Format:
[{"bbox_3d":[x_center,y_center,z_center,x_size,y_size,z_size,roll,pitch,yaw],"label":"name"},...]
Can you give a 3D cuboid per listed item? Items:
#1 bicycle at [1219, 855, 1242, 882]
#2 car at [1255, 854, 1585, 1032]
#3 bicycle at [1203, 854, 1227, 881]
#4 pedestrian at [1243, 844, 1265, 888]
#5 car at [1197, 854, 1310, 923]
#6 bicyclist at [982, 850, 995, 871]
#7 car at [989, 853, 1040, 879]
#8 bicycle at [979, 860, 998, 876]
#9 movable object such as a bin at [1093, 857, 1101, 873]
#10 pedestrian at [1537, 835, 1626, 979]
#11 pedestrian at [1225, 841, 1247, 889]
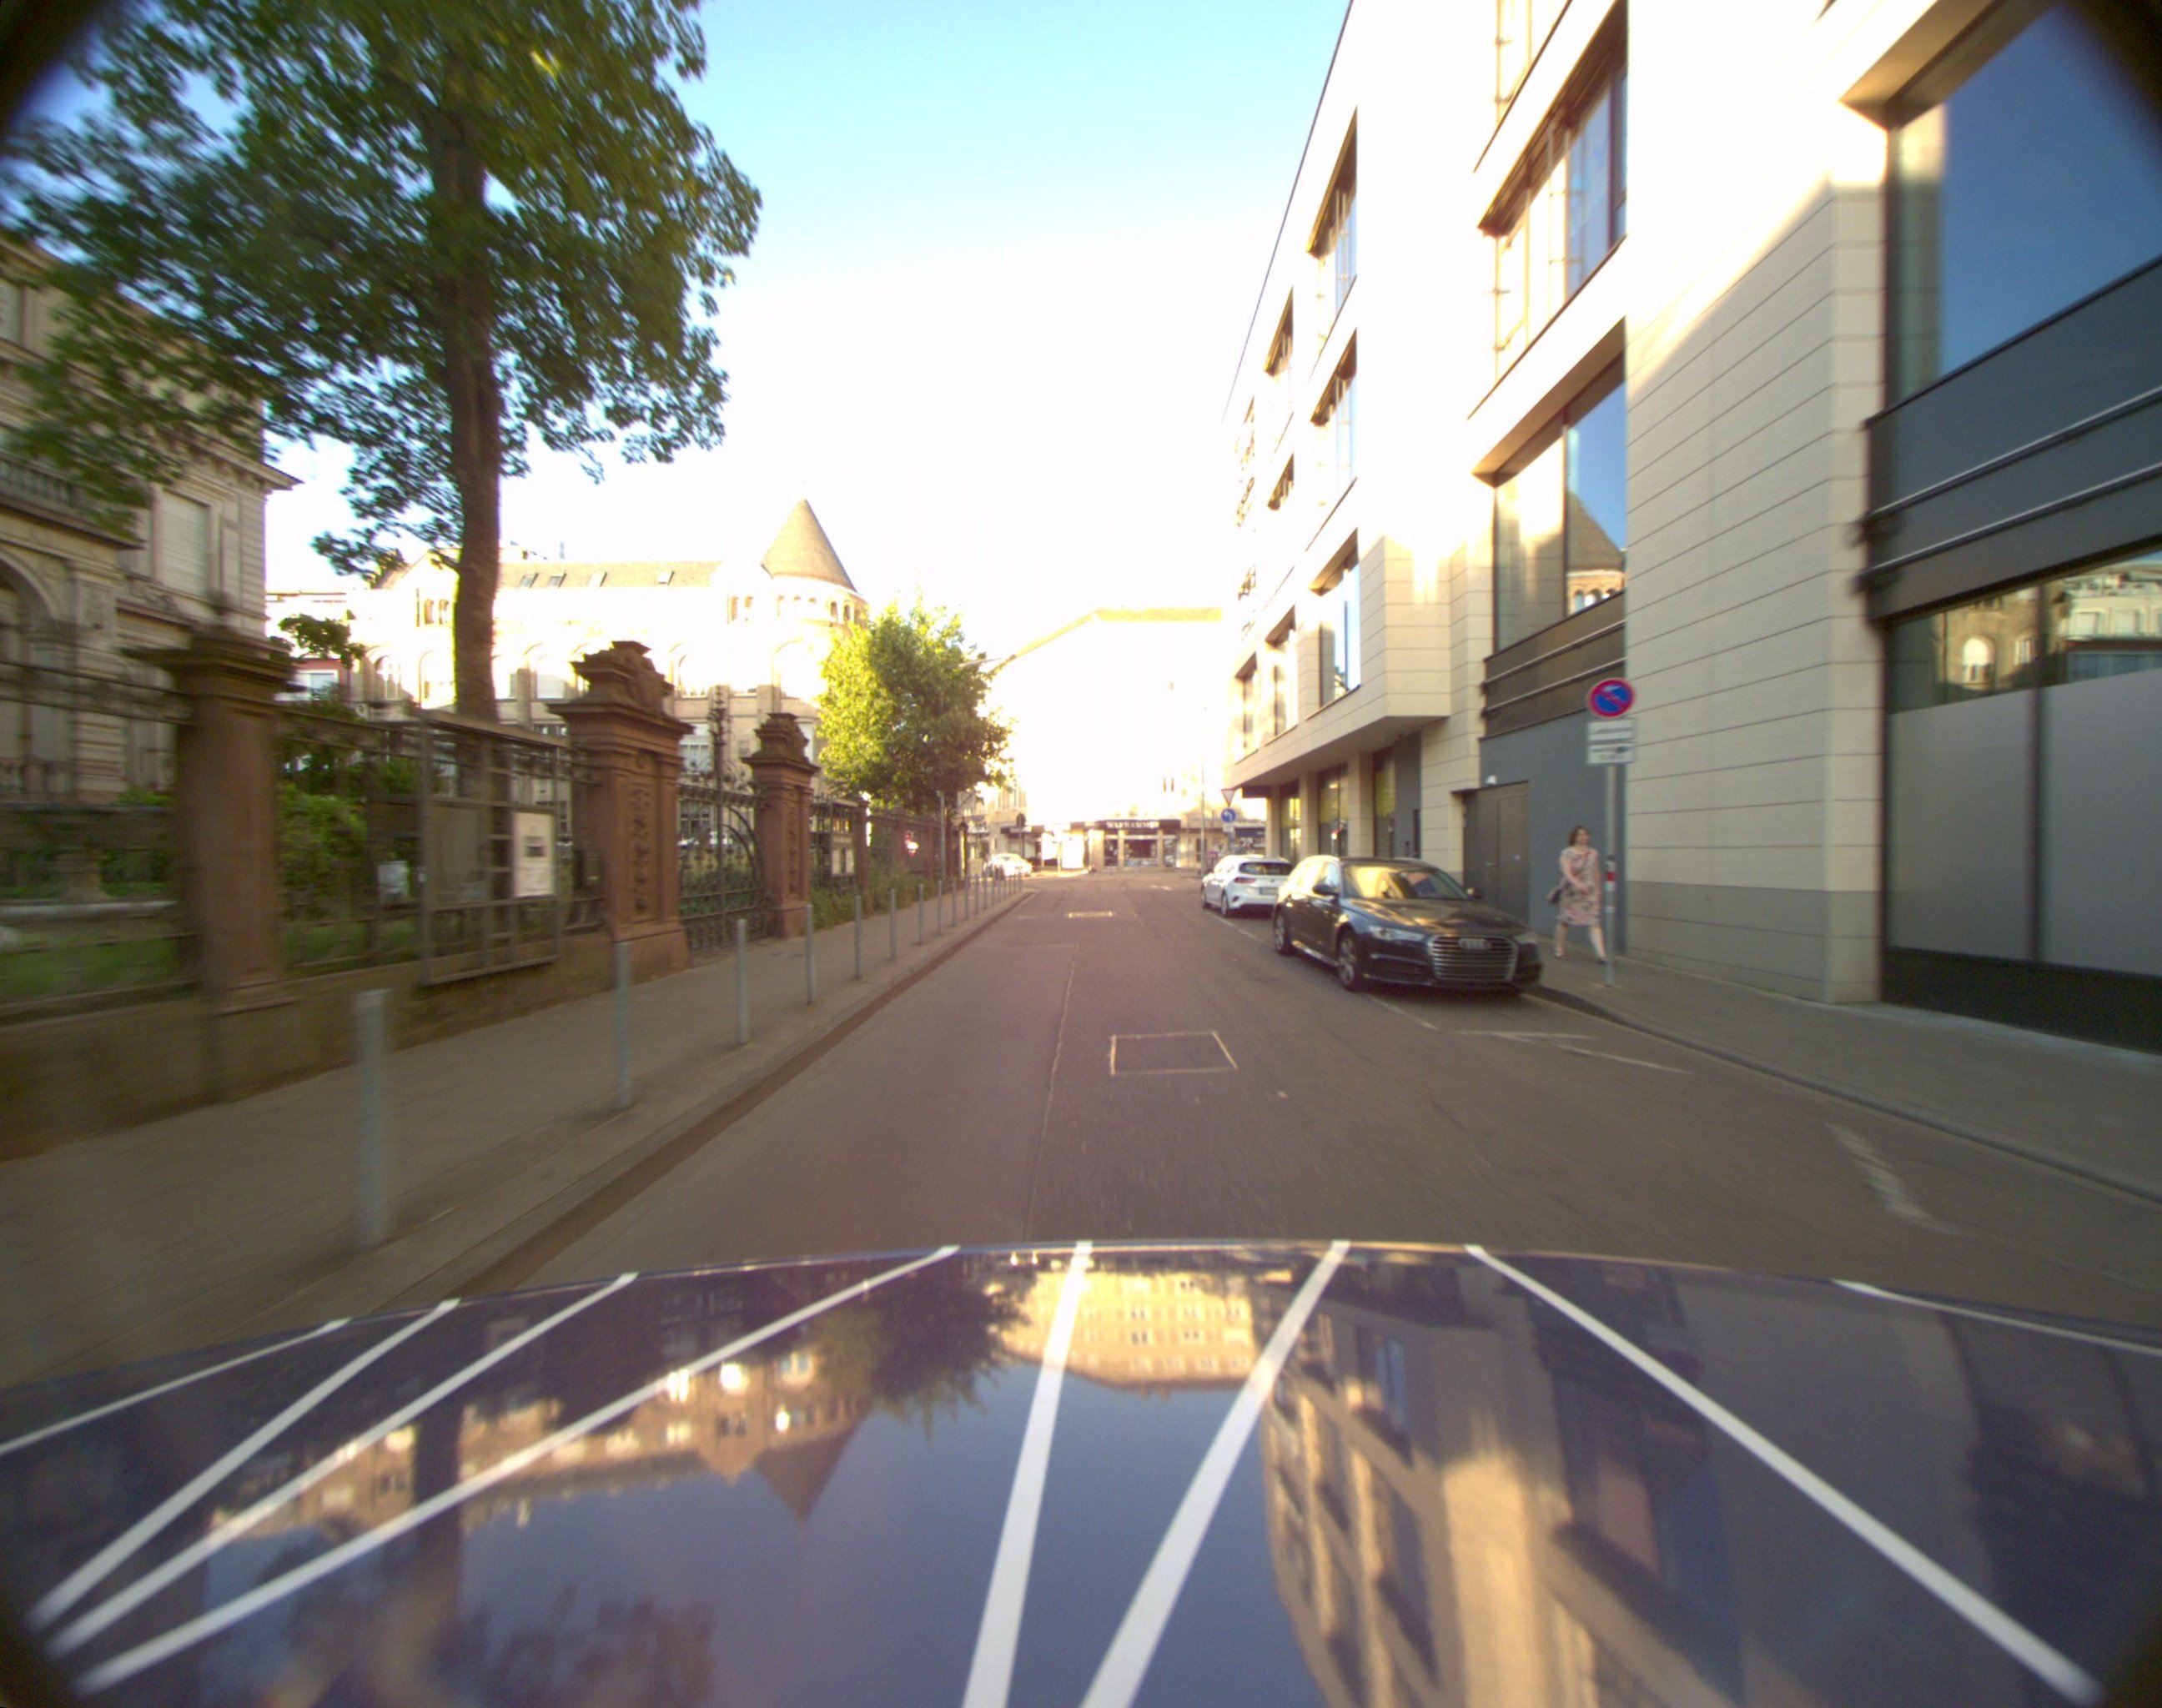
[{"bbox_3d":[7.360,0.688,37.465,0.582,1.248,2.043,-1,1,-3],"label":"bicycle"},{"bbox_3d":[3.665,0.816,9.336,1.888,1.589,4.688,-1,1,-1],"label":"car"},{"bbox_3d":[6.592,0.636,37.388,0.665,1.248,2.139,-1,1,-3],"label":"bicycle"},{"bbox_3d":[6.685,0.465,29.427,0.674,1.665,0.647,-1,1,-2],"label":"pedestrian"},{"bbox_3d":[4.086,0.756,18.687,1.782,1.444,4.230,-1,1,-1],"label":"car"},{"bbox_3d":[-7.233,0.510,59.271,0.661,1.562,0.861,-2,2,-36],"label":"bicyclist"},{"bbox_3d":[-4.033,0.658,45.330,2.002,1.414,4.451,-1,1,-19],"label":"car"},{"bbox_3d":[-7.210,1.085,59.291,0.667,1.132,1.817,-2,2,-35],"label":"bicycle"},{"bbox_3d":[1.013,0.714,48.912,0.361,1.057,0.355,-2,2,-41],"label":"movable object such as a bin"},{"bbox_3d":[6.233,0.636,9.492,0.673,1.734,0.647,-1,1,1],"label":"pedestrian"},{"bbox_3d":[5.997,0.417,29.404,0.674,1.826,0.647,-1,1,-2],"label":"pedestrian"}]
